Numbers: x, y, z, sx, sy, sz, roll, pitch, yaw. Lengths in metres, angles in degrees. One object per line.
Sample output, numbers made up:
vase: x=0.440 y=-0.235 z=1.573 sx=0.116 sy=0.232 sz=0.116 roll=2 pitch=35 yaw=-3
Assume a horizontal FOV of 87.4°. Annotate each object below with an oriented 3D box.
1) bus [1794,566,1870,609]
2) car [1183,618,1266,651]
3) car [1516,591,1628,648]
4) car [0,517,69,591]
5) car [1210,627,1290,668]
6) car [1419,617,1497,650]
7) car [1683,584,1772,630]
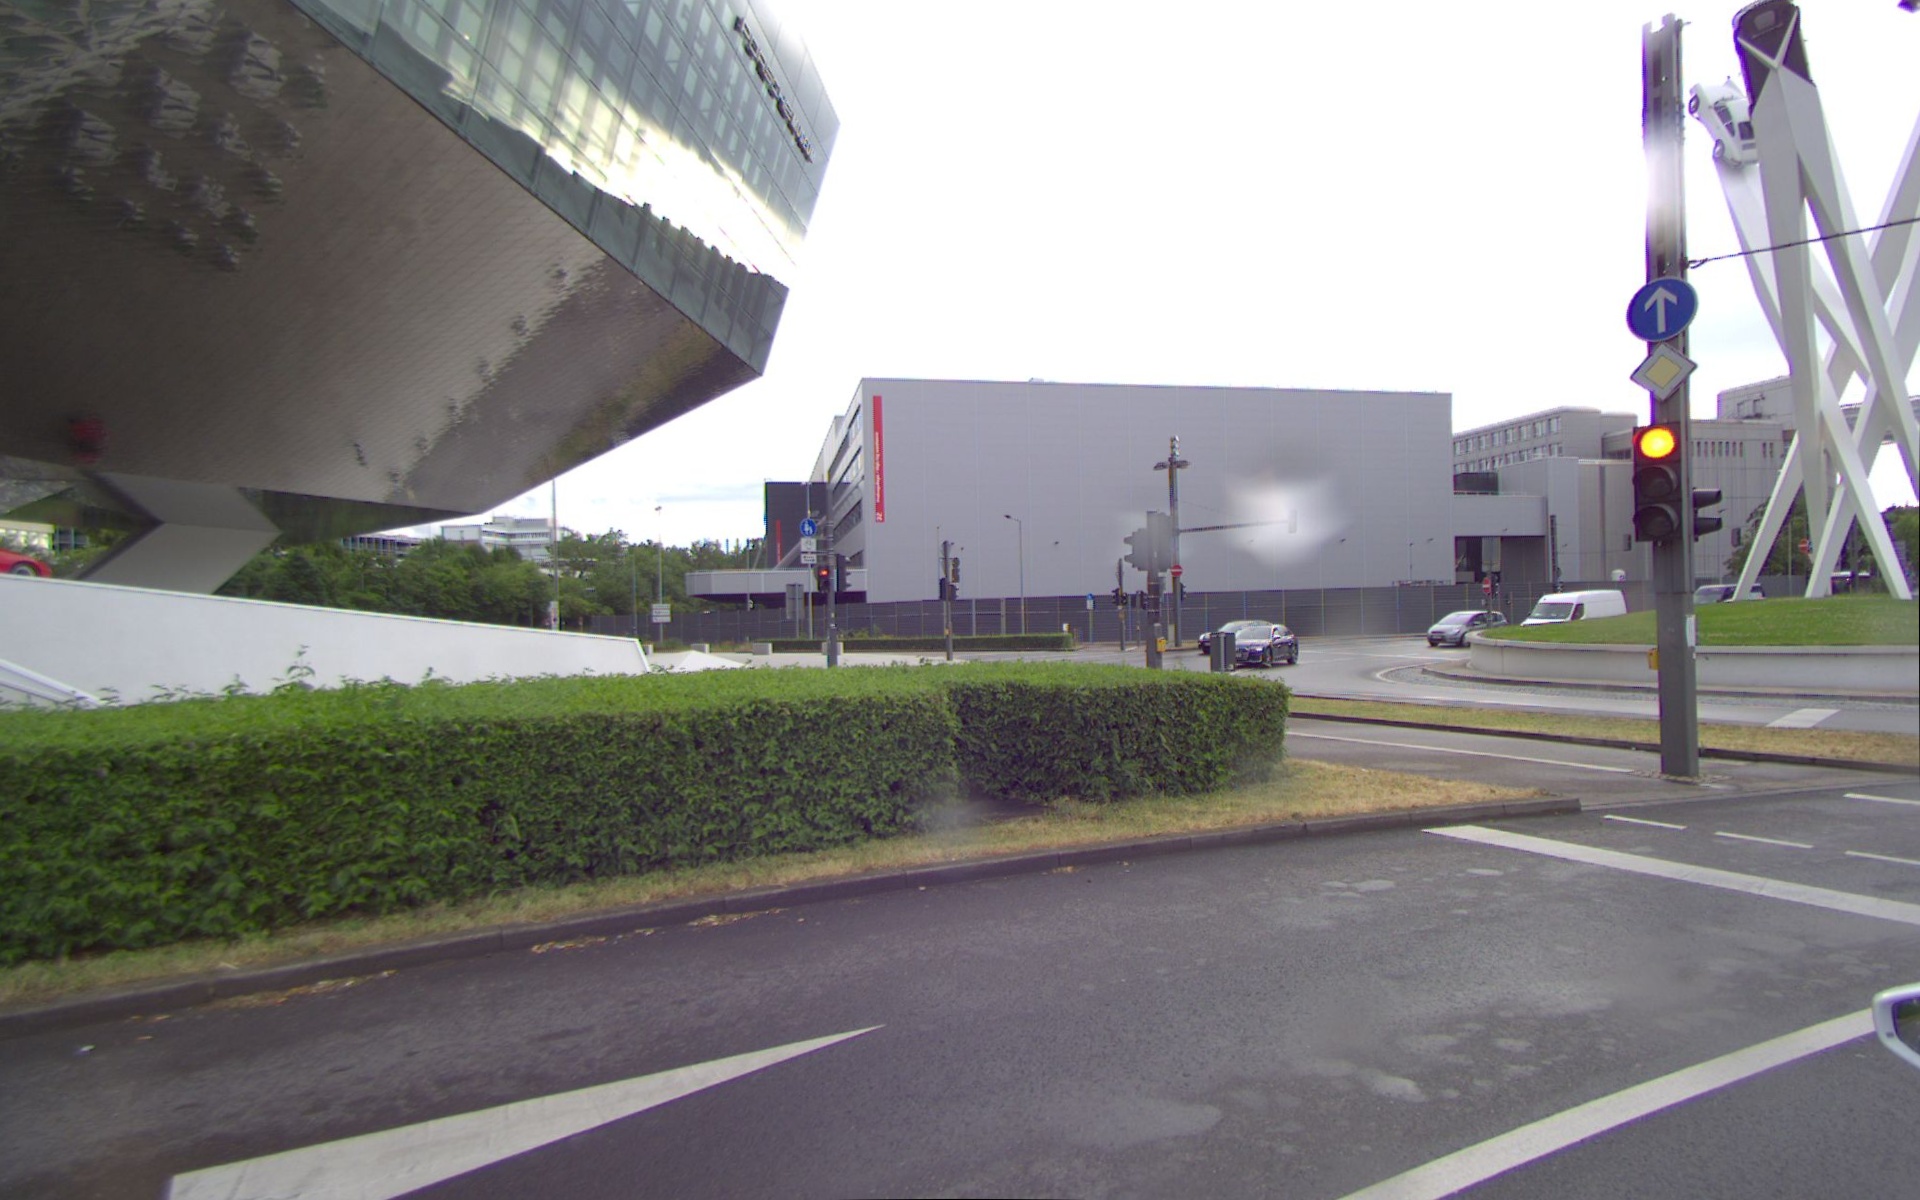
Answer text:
bus: x=72.648 y=-0.949 z=83.540 sx=12.559 sy=3.243 sz=2.648 roll=1 pitch=-1 yaw=-39
car: x=12.416 y=1.590 z=47.031 sx=1.814 sy=1.491 sz=4.485 roll=-1 pitch=-1 yaw=44
car: x=28.155 y=0.884 z=46.165 sx=5.359 sy=2.479 sz=1.985 roll=0 pitch=-1 yaw=-29
car: x=-19.716 y=-1.102 z=19.084 sx=1.605 sy=1.258 sz=4.107 roll=0 pitch=-8 yaw=5
car: x=10.563 y=1.694 z=36.465 sx=1.819 sy=1.356 sz=3.991 roll=0 pitch=-1 yaw=31
car: x=24.245 y=1.601 z=48.898 sx=3.962 sy=1.514 sz=1.821 roll=1 pitch=-1 yaw=-36
car: x=49.855 y=0.476 z=65.202 sx=7.040 sy=2.858 sz=1.958 roll=1 pitch=-1 yaw=-29
